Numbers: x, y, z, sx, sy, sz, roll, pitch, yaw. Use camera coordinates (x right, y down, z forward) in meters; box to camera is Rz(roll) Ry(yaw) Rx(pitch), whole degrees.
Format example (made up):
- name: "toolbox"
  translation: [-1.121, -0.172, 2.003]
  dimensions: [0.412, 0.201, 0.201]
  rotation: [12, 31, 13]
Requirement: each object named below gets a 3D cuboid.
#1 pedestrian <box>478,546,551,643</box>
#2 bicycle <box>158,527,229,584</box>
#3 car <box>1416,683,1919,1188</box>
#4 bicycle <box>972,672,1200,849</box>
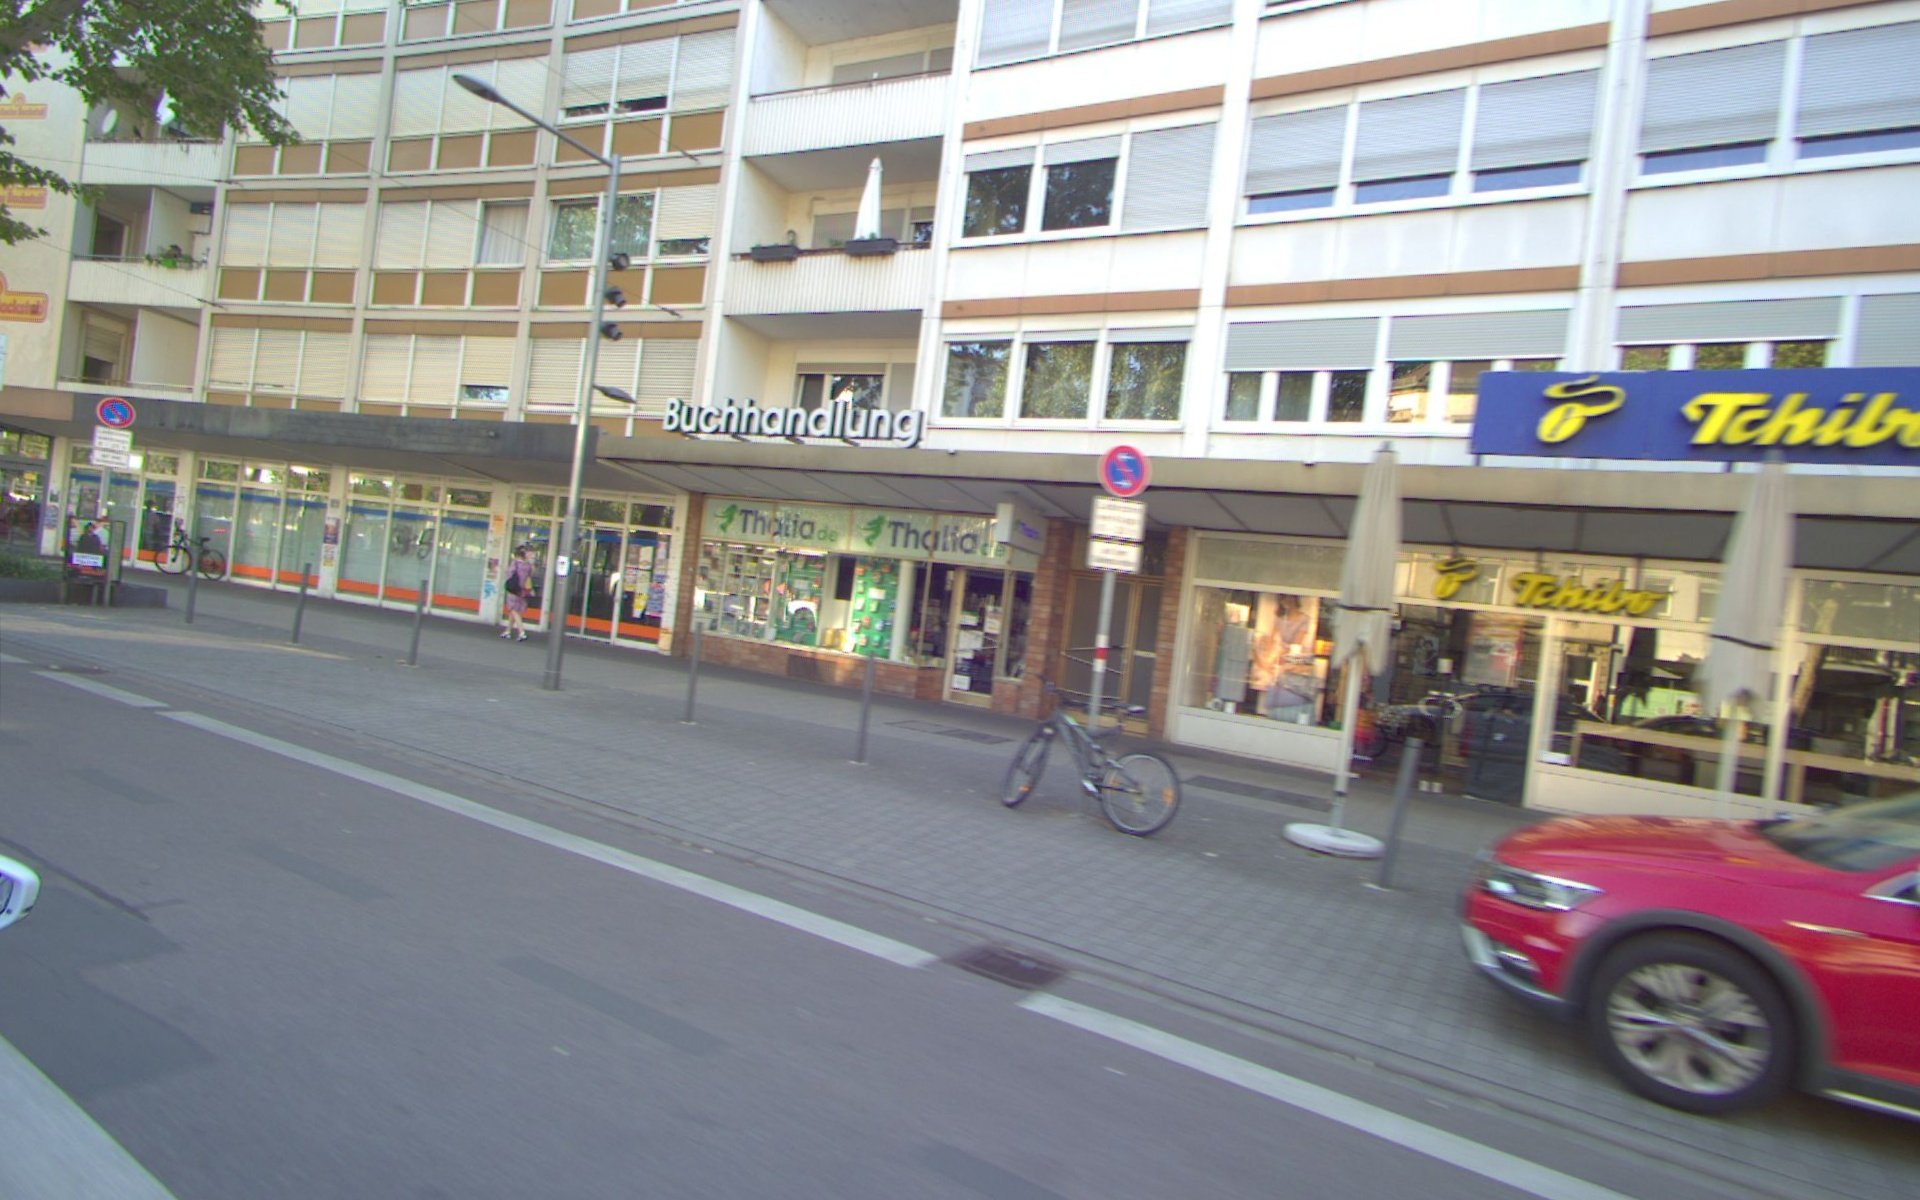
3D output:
- name: "pedestrian"
  translation: [-7.737, -0.085, 17.479]
  dimensions: [0.793, 1.571, 0.641]
  rotation: [7, 1, 23]
- name: "bicycle"
  translation: [-17.258, -1.000, 22.649]
  dimensions: [1.434, 1.107, 0.438]
  rotation: [7, 2, 17]
- name: "car"
  translation: [4.411, 1.407, 3.904]
  dimensions: [4.492, 1.515, 1.779]
  rotation: [7, 1, 33]
- name: "bicycle"
  translation: [0.990, 1.230, 8.053]
  dimensions: [1.632, 1.084, 0.512]
  rotation: [7, 2, 27]
